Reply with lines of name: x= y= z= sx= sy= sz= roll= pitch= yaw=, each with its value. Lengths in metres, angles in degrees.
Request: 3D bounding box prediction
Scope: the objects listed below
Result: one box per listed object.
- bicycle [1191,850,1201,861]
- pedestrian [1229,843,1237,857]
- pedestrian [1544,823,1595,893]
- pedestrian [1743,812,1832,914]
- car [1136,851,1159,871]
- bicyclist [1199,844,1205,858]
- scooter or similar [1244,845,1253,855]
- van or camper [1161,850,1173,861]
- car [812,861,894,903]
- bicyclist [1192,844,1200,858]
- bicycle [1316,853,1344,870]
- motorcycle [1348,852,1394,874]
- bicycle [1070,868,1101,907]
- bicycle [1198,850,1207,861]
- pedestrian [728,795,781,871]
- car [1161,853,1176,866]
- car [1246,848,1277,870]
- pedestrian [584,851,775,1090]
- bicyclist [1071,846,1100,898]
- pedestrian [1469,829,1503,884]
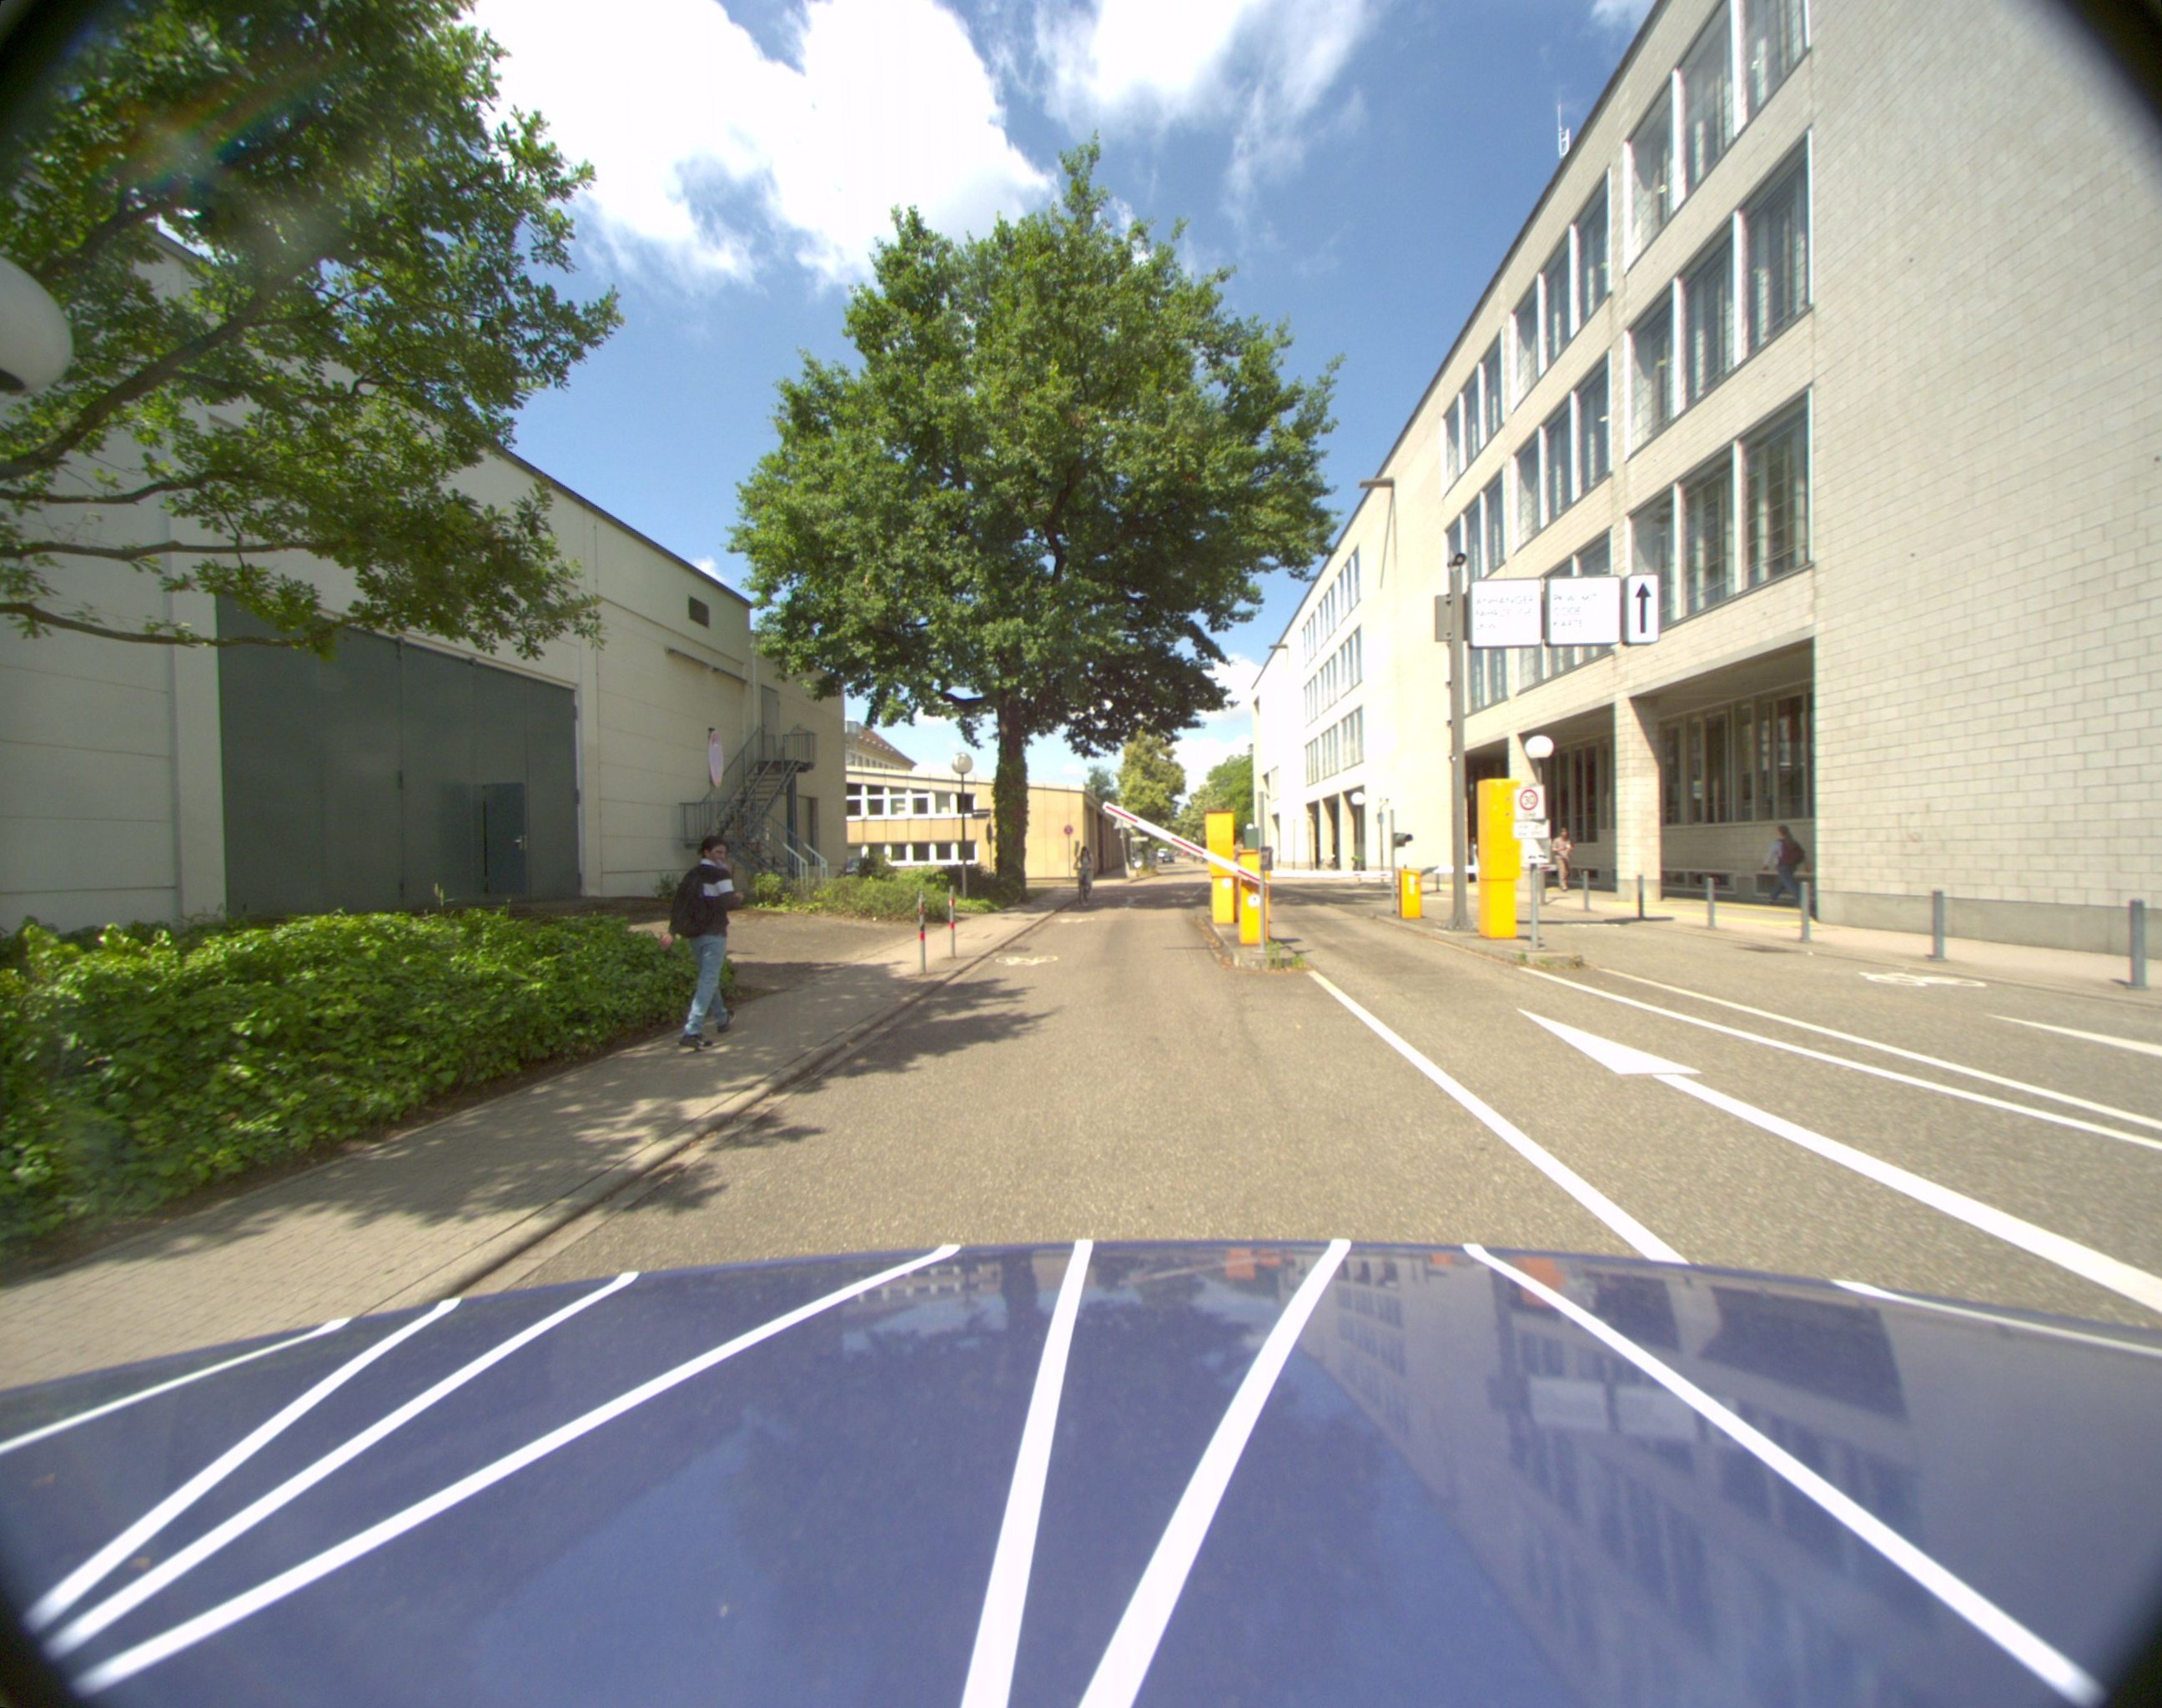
bicycle: x=15.063 y=0.188 z=99.518 sx=0.798 sy=1.485 sz=2.061 roll=-2 pitch=1 yaw=-4
pedestrian: x=19.363 y=-0.521 z=96.953 sx=0.760 sy=1.715 sz=1.236 roll=-4 pitch=1 yaw=16
pedestrian: x=14.297 y=0.114 z=22.256 sx=0.850 sy=2.002 sz=1.066 roll=-1 pitch=1 yaw=3
pedestrian: x=14.389 y=0.170 z=15.510 sx=0.850 sy=2.002 sz=1.066 roll=-1 pitch=1 yaw=3
car: x=5.283 y=0.520 z=60.462 sx=1.760 sy=1.559 sz=3.819 roll=0 pitch=0 yaw=5
bicyclist: x=16.028 y=-0.383 z=100.362 sx=0.609 sy=1.754 sz=0.696 roll=-2 pitch=1 yaw=-3
scooter or similar: x=21.247 y=-0.528 z=96.461 sx=0.713 sy=1.184 sz=1.617 roll=-1 pitch=2 yaw=27
van or camper: x=18.704 y=0.285 z=165.014 sx=1.997 sy=2.348 sz=4.387 roll=-1 pitch=0 yaw=12
car: x=-9.085 y=1.077 z=30.660 sx=1.670 sy=1.468 sz=4.183 roll=-1 pitch=0 yaw=6
bicyclist: x=15.041 y=-0.389 z=99.332 sx=0.762 sy=1.766 sz=0.733 roll=-2 pitch=1 yaw=-5
bicycle: x=16.096 y=0.490 z=49.137 sx=1.643 sy=1.080 sz=0.608 roll=-2 pitch=1 yaw=0
motorcycle: x=15.259 y=0.475 z=40.007 sx=2.172 sy=1.131 sz=0.774 roll=-1 pitch=1 yaw=-5
bicycle: x=0.150 y=0.973 z=22.434 sx=0.780 sy=1.042 sz=1.913 roll=-1 pitch=0 yaw=4
bicycle: x=16.043 y=0.163 z=100.366 sx=0.639 sy=1.485 sz=1.935 roll=-2 pitch=1 yaw=-2
pedestrian: x=-8.862 y=-0.547 z=20.642 sx=0.928 sy=2.002 sz=0.950 roll=-1 pitch=1 yaw=9
car: x=12.586 y=0.794 z=109.231 sx=1.997 sy=1.805 sz=4.002 roll=-1 pitch=0 yaw=7
car: x=13.890 y=0.375 z=58.597 sx=1.730 sy=1.526 sz=4.407 roll=-3 pitch=1 yaw=6
pedestrian: x=-3.062 y=0.815 z=5.938 sx=0.741 sy=1.665 sz=1.256 roll=-1 pitch=1 yaw=2
bicyclist: x=0.139 y=0.525 z=22.281 sx=0.780 sy=1.478 sz=0.696 roll=-1 pitch=1 yaw=4
pedestrian: x=15.087 y=0.090 z=28.324 sx=0.858 sy=2.002 sz=0.881 roll=-2 pitch=1 yaw=8
